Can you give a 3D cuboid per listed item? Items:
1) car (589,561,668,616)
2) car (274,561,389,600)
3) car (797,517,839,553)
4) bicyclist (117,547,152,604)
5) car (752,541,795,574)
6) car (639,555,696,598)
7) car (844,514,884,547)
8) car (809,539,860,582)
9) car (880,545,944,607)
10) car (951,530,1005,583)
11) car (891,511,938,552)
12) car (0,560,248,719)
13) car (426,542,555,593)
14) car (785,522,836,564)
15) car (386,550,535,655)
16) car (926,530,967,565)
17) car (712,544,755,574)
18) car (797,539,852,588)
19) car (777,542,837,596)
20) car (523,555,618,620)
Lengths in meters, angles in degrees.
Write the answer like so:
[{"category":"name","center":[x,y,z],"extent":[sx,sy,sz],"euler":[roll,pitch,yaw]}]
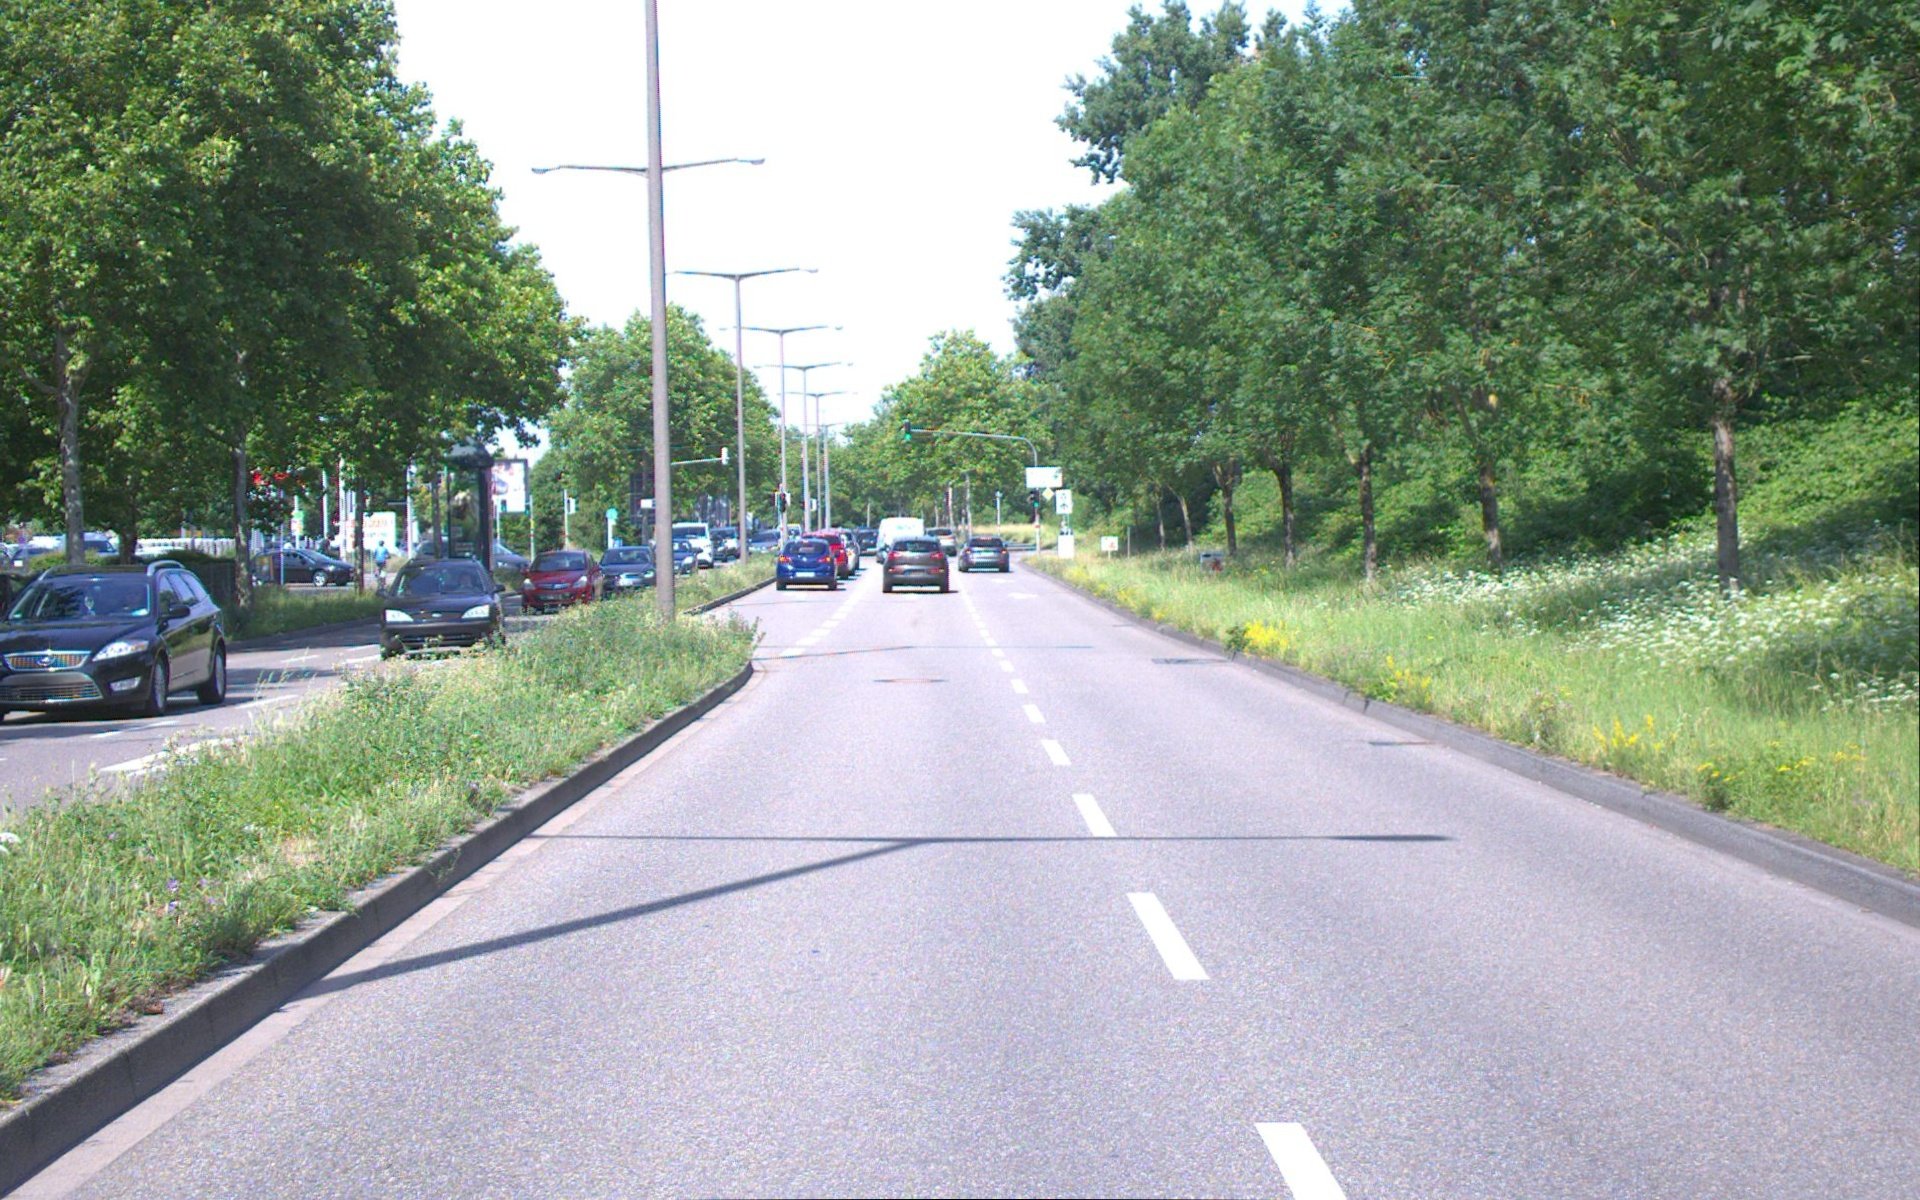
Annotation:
[{"category":"car","center":[-9.311,-0.339,96.816],"extent":[1.839,1.473,4.166],"euler":[-1,1,-1]},{"category":"car","center":[-23.808,-0.740,130.264],"extent":[3.992,1.383,1.763],"euler":[0,2,27]},{"category":"car","center":[-7.583,-3.498,184.170],"extent":[1.993,1.853,4.000],"euler":[-1,1,1]},{"category":"bicyclist","center":[-21.880,-0.658,91.148],"extent":[0.681,1.480,0.942],"euler":[-2,1,0]},{"category":"car","center":[-10.362,-2.375,191.337],"extent":[1.993,1.769,4.000],"euler":[-1,1,2]},{"category":"car","center":[-10.554,-0.868,124.352],"extent":[1.768,1.464,4.284],"euler":[-2,1,-1]},{"category":"car","center":[-4.861,-3.506,174.493],"extent":[1.934,1.641,4.000],"euler":[-1,1,0]},{"category":"car","center":[-4.504,-1.435,123.928],"extent":[1.766,1.474,4.136],"euler":[0,1,-1]},{"category":"car","center":[-1.338,-0.706,97.074],"extent":[1.736,1.530,4.001],"euler":[0,3,0]},{"category":"car","center":[0.672,-1.681,131.923],"extent":[2.018,1.831,4.001],"euler":[0,3,0]},{"category":"car","center":[-1.958,-2.958,149.290],"extent":[1.993,1.702,4.263],"euler":[-1,1,0]},{"category":"car","center":[-8.628,0.353,35.089],"extent":[1.827,1.462,4.989],"euler":[-1,1,-2]},{"category":"car","center":[-17.206,-1.184,126.025],"extent":[4.392,1.744,1.866],"euler":[-1,1,29]},{"category":"car","center":[-6.350,-2.422,146.069],"extent":[1.993,1.702,4.263],"euler":[-1,1,0]},{"category":"car","center":[-7.492,0.003,51.910],"extent":[1.772,1.462,4.672],"euler":[-2,1,-3]},{"category":"car","center":[-0.702,-2.669,173.419],"extent":[1.993,1.702,4.263],"euler":[-1,1,0]},{"category":"car","center":[-12.075,-2.213,183.218],"extent":[1.993,1.525,4.682],"euler":[-2,1,0]},{"category":"car","center":[-4.572,-1.252,116.652],"extent":[1.782,1.587,4.594],"euler":[0,1,-1]},{"category":"car","center":[-4.411,-0.918,99.504],"extent":[1.626,1.478,4.049],"euler":[1,1,-1]},{"category":"car","center":[-9.335,-0.320,82.691],"extent":[1.763,1.457,4.000],"euler":[-2,1,0]}]
